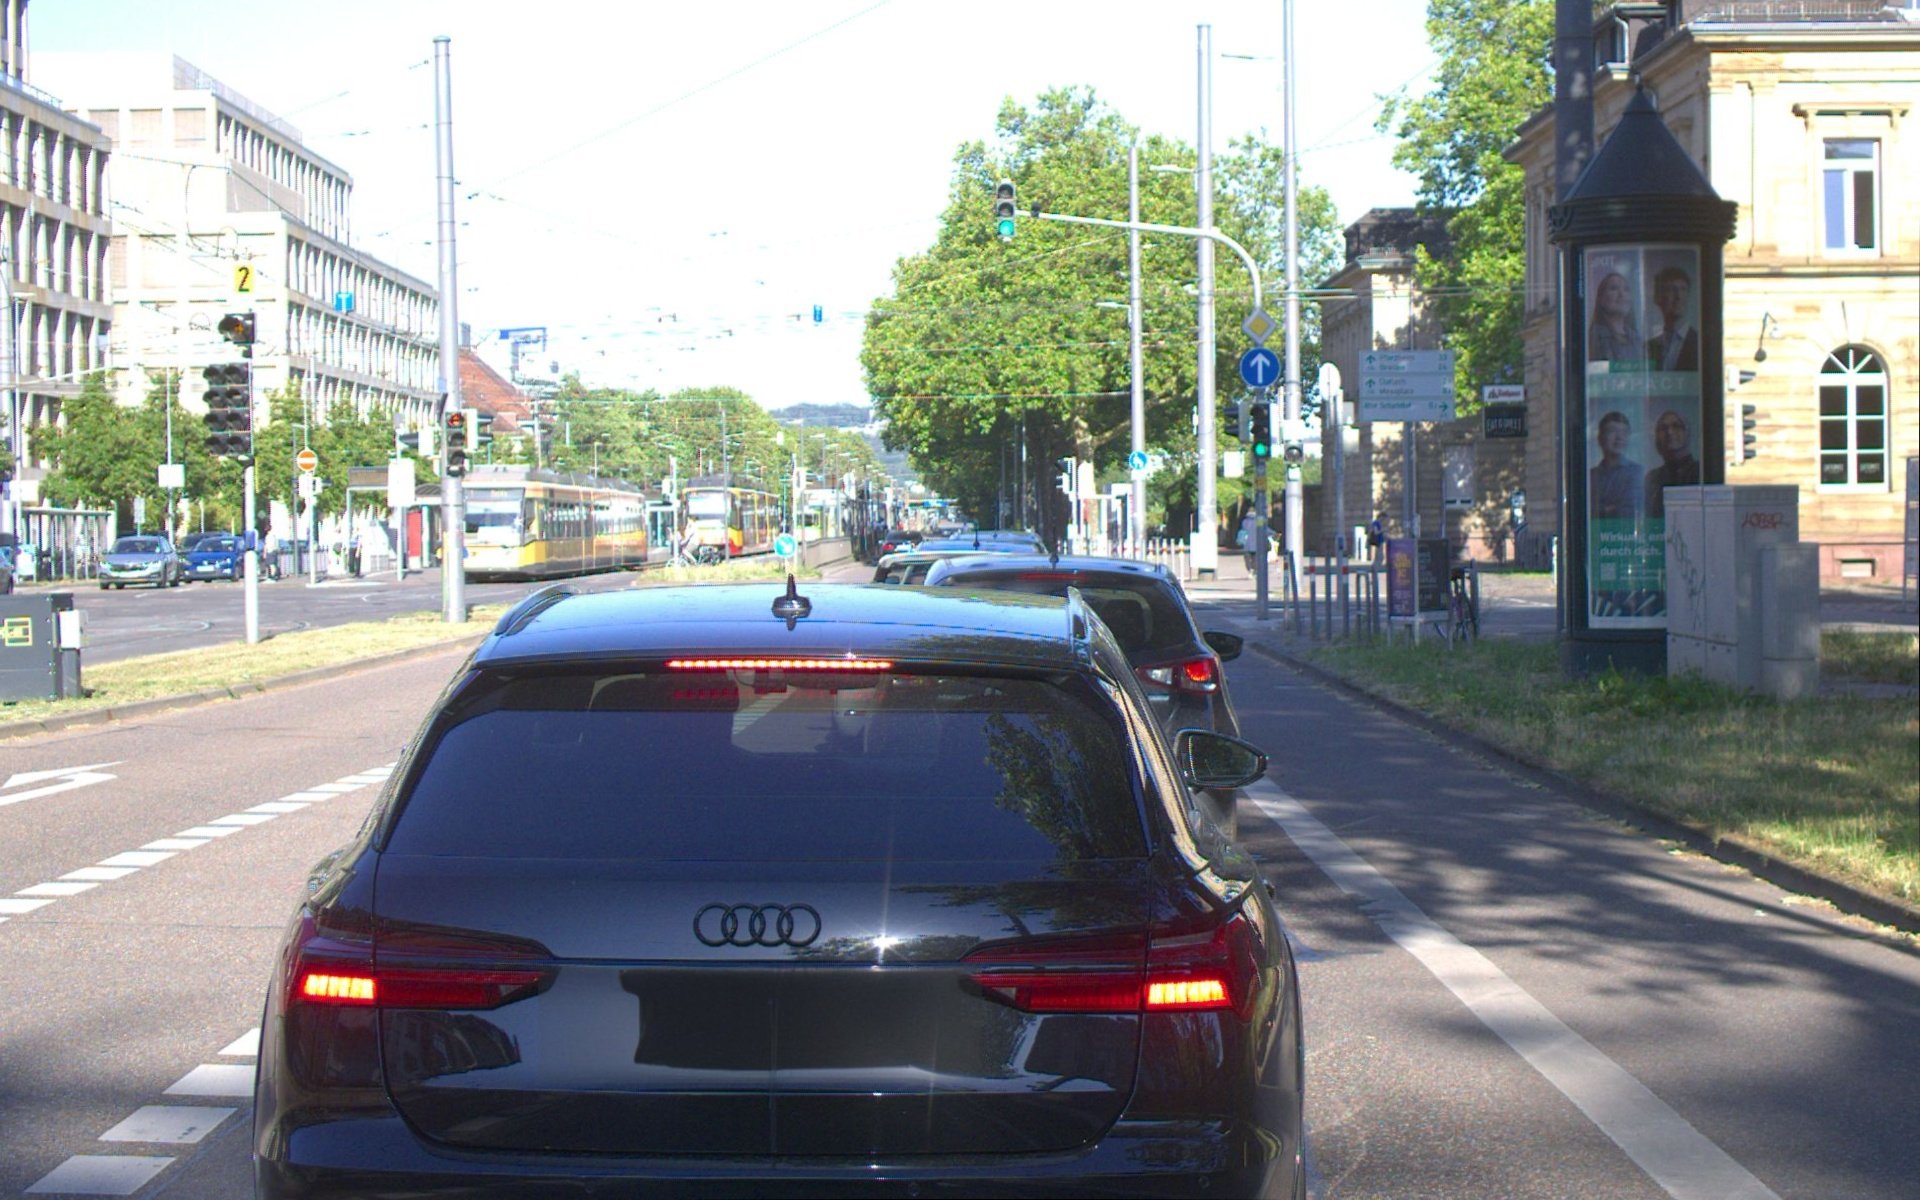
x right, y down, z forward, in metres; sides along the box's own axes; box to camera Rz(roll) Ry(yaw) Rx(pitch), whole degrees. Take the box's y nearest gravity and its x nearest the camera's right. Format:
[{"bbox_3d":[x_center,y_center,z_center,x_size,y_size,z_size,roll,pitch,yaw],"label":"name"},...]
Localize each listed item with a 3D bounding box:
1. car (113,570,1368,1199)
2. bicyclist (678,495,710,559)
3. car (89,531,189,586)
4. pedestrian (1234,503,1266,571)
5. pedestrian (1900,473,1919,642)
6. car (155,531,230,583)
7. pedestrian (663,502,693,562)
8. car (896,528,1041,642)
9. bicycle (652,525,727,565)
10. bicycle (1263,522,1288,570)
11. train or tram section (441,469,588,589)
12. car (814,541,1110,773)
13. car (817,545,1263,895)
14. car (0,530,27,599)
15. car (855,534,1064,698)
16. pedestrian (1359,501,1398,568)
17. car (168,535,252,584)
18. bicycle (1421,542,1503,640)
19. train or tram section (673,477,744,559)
[{"bbox_3d":[-0.330,0.669,7.311,1.902,1.417,4.145,1,1,0],"label":"car"},{"bbox_3d":[-7.556,-2.074,97.611,0.756,1.812,0.765,-1,1,-16],"label":"bicyclist"},{"bbox_3d":[-23.017,-1.184,96.544,1.820,1.452,4.541,-1,1,-2],"label":"car"},{"bbox_3d":[7.069,-1.539,83.760,0.682,1.655,0.758,-1,1,-2],"label":"pedestrian"},{"bbox_3d":[10.060,-0.437,34.843,0.769,1.703,1.042,-1,1,1],"label":"pedestrian"},{"bbox_3d":[-27.744,-1.572,124.364,1.842,1.806,4.113,-1,1,-1],"label":"car"},{"bbox_3d":[-8.148,-1.963,99.259,0.739,1.735,0.664,-1,1,-15],"label":"pedestrian"},{"bbox_3d":[0.119,-0.233,47.551,1.902,1.481,4.145,1,1,0],"label":"car"},{"bbox_3d":[-7.676,-1.573,97.593,2.005,1.104,0.765,-1,1,-16],"label":"bicycle"},{"bbox_3d":[7.689,-1.325,83.785,0.434,1.141,1.340,-1,1,-2],"label":"bicycle"},{"bbox_3d":[-13.676,-2.216,106.631,2.813,3.477,13.205,-1,1,0],"label":"train or tram section"},{"bbox_3d":[0.023,0.336,24.313,1.902,1.481,4.145,1,1,0],"label":"car"},{"bbox_3d":[0.353,0.485,16.868,1.902,1.481,4.145,1,1,0],"label":"car"},{"bbox_3d":[-21.160,-0.733,72.857,1.819,1.452,4.166,-1,1,-3],"label":"car"},{"bbox_3d":[0.008,0.116,33.627,1.902,1.481,4.145,1,1,0],"label":"car"},{"bbox_3d":[11.864,-1.862,97.520,0.979,1.859,0.827,-1,1,0],"label":"pedestrian"},{"bbox_3d":[-23.565,-1.284,108.102,1.820,1.452,4.157,-1,1,-2],"label":"car"},{"bbox_3d":[5.611,-0.111,38.500,0.540,1.058,1.772,-1,1,-4],"label":"bicycle"},{"bbox_3d":[-10.951,-3.591,150.308,2.608,3.439,11.134,-1,1,-2],"label":"train or tram section"}]
